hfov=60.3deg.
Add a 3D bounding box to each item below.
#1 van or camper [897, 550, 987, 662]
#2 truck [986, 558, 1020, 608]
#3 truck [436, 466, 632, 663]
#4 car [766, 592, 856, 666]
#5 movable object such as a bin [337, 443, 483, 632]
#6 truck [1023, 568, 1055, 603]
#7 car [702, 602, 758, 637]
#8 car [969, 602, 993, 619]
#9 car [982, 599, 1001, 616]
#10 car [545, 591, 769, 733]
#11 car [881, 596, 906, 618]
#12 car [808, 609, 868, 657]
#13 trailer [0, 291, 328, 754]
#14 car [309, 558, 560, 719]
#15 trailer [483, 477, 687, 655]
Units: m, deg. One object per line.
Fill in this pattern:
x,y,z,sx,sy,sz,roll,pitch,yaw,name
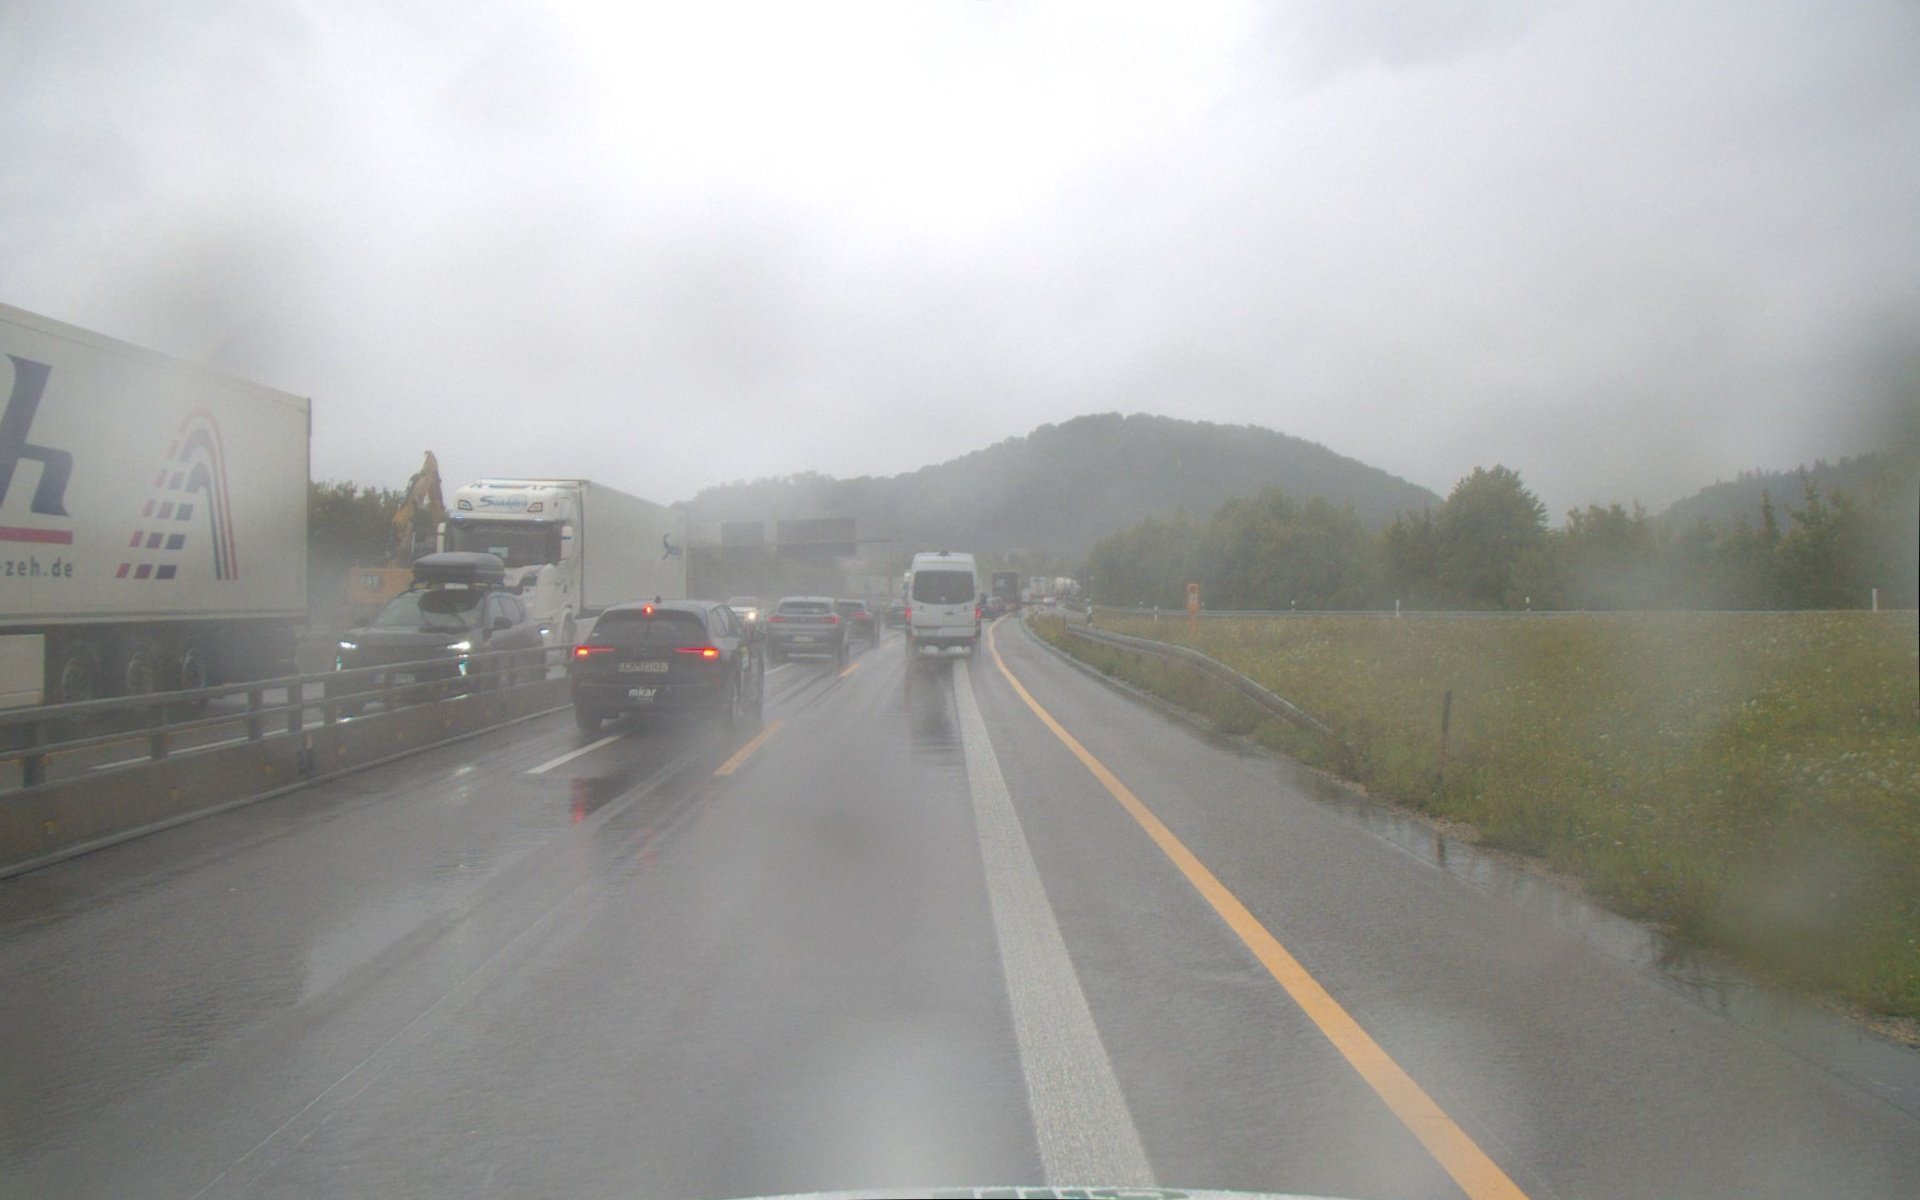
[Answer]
-0.540,0.159,43.666,2.097,2.769,4.644,0,0,-4,van or camper
4.541,-1.710,172.068,3.251,4.868,9.909,1,0,2,truck
-9.738,-0.792,38.614,2.825,4.173,6.925,0,0,-1,truck
-3.552,0.663,39.995,1.829,1.688,3.987,0,0,-1,car
-25.587,-2.758,77.538,3.521,8.286,8.310,1,-1,2,movable object such as a bin
11.394,-2.030,237.262,3.845,4.868,9.913,1,0,7,truck
-10.342,0.866,74.573,1.953,1.532,4.295,1,0,-1,car
1.416,0.710,110.380,1.357,1.097,3.120,0,0,-4,car
2.484,0.596,131.302,1.356,1.278,3.121,0,0,-2,car
-3.423,0.655,19.575,1.900,1.452,4.758,1,0,-2,car
-3.304,0.338,82.727,1.237,1.097,3.253,0,0,-2,car
-4.036,1.076,55.198,1.815,1.527,3.998,0,0,-2,car
-9.792,-0.702,16.300,2.443,4.120,12.585,0,1,-1,trailer
-6.807,0.438,21.967,1.953,1.917,4.432,0,1,-1,car
-9.783,-0.852,44.876,2.848,4.161,12.219,0,1,-1,trailer
